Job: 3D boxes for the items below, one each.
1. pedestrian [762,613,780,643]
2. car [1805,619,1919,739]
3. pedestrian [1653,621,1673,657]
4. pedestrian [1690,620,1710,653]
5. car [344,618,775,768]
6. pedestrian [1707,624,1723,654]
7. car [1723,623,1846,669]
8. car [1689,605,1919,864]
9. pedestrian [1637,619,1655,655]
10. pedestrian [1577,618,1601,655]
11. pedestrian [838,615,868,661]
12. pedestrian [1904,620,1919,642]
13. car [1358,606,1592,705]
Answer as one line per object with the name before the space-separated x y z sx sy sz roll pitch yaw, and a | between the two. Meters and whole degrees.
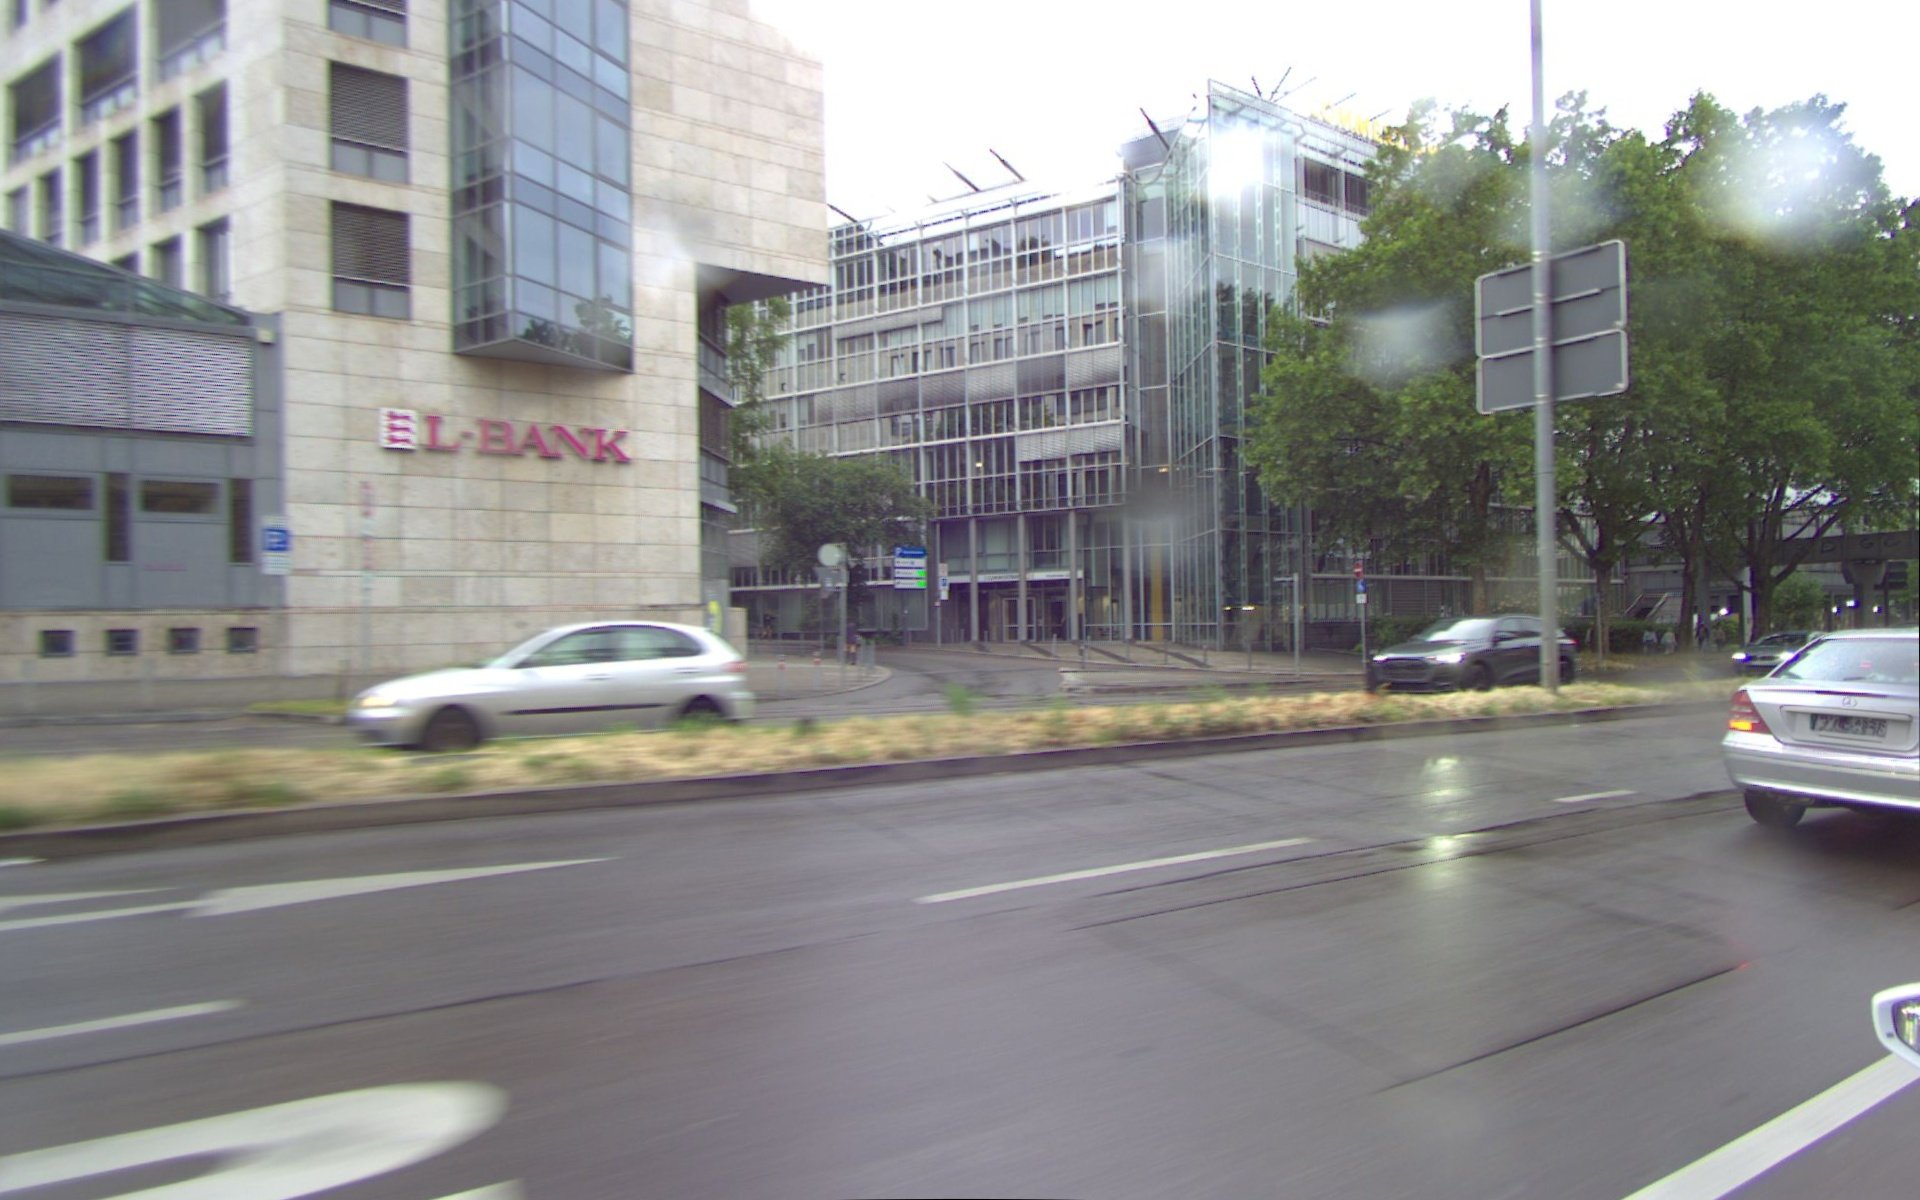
pedestrian | -10.594 1.577 56.321 0.647 1.652 0.740 -1 0 38
car | 14.037 1.020 13.836 4.813 1.498 1.867 1 -2 -26
pedestrian | 35.793 1.977 51.145 0.750 1.832 0.593 0 -1 -30
pedestrian | 42.348 2.075 57.479 0.610 1.832 0.719 0 -1 -30
car | -4.219 0.926 10.902 4.065 1.378 1.590 1 -2 -28
pedestrian | 42.635 2.205 56.752 0.505 1.708 0.557 0 -1 -30
car | 27.798 1.546 33.833 4.703 1.457 1.683 2 -2 -30
car | 7.244 0.847 7.229 4.310 1.498 1.664 2 -1 -31
pedestrian | 35.453 1.922 51.924 0.505 1.832 0.603 0 -1 -30
pedestrian | 31.593 1.846 50.430 0.793 1.832 0.731 0 -1 -30
pedestrian | -3.739 1.311 35.061 0.658 1.591 0.818 -1 0 38
pedestrian | 76.731 2.476 80.917 1.045 1.738 0.739 0 -1 -31
car | 9.995 1.045 19.410 4.626 1.702 1.865 2 -2 -30
